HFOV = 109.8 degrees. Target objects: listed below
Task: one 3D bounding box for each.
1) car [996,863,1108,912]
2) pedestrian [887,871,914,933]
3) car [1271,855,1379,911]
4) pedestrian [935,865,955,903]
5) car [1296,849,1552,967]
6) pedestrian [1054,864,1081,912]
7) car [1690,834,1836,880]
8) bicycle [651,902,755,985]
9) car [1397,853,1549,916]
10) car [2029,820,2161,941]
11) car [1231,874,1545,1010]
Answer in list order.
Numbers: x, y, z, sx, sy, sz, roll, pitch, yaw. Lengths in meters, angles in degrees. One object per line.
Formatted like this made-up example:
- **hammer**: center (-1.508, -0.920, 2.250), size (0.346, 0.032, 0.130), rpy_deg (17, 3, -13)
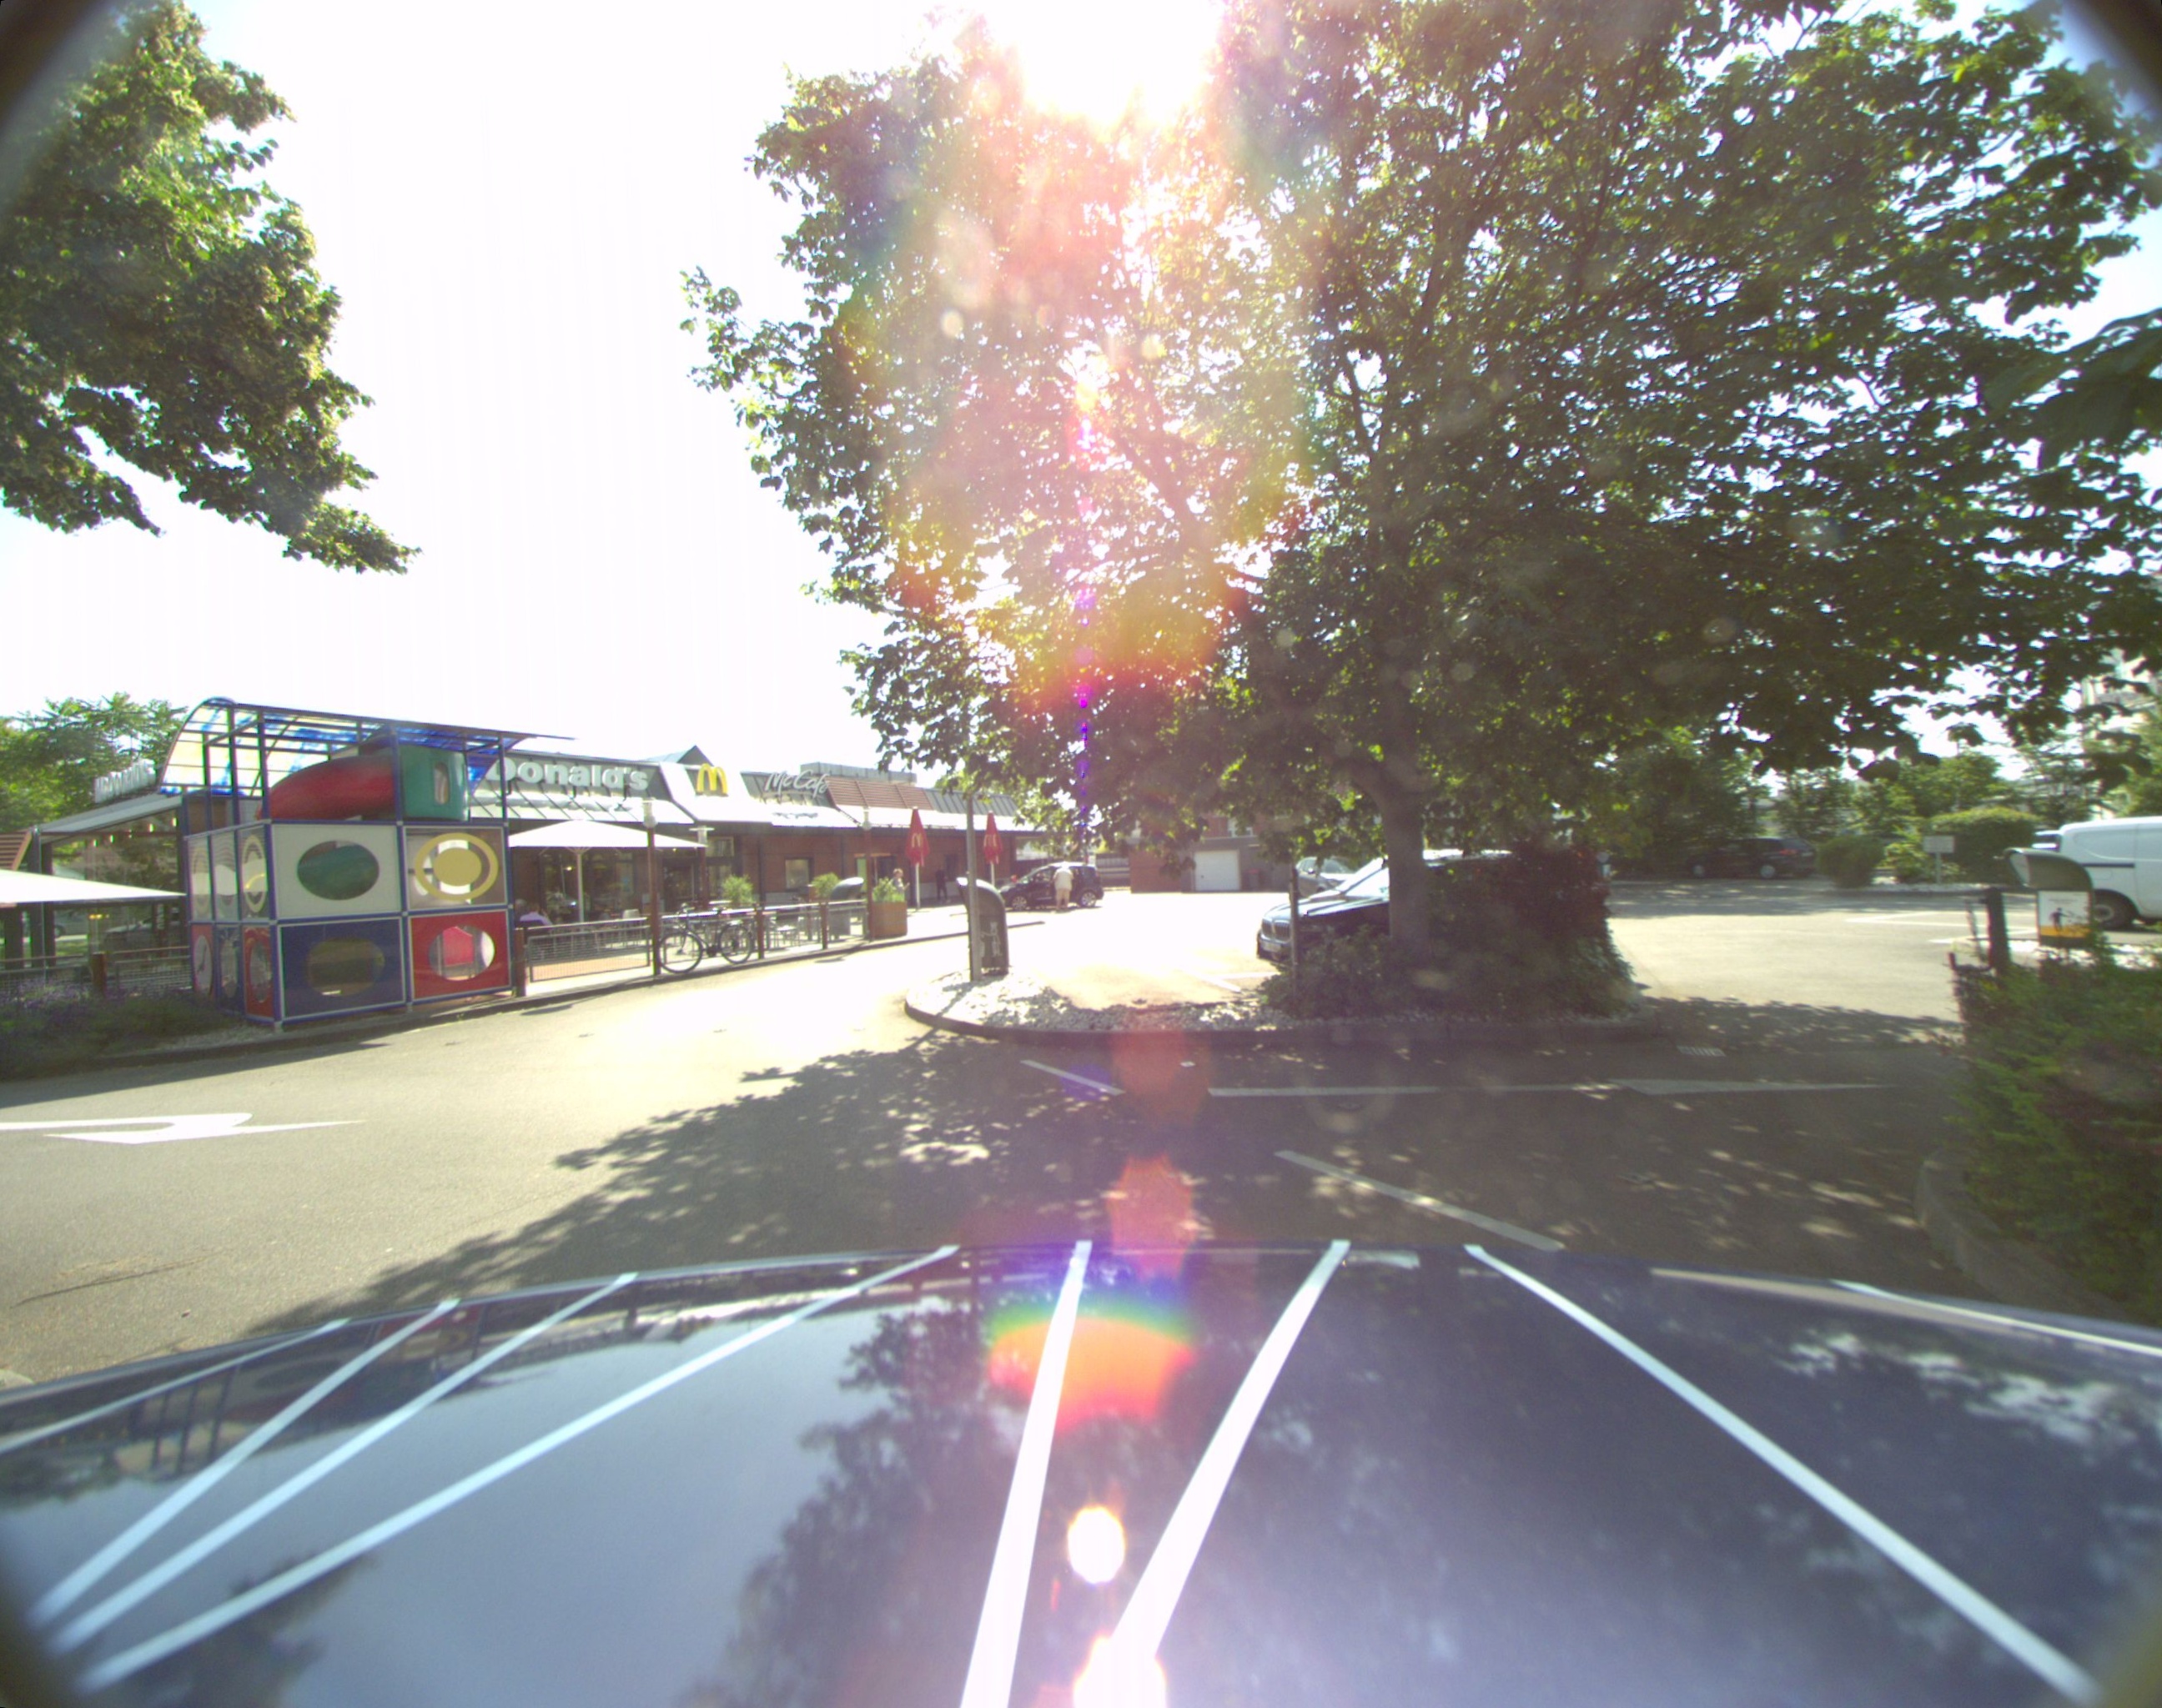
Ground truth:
- **car**: center (-1.141, 1.220, 28.584), size (4.000, 1.647, 1.955), rpy_deg (-2, 0, -8)
- **pedestrian**: center (-4.681, 1.233, 19.740), size (0.597, 1.558, 0.571), rpy_deg (-2, 1, -10)
- **car**: center (7.428, 0.823, 23.500), size (1.621, 1.523, 3.609), rpy_deg (-2, 0, -10)
- **pedestrian**: center (-6.097, 1.344, 34.140), size (0.541, 1.641, 0.624), rpy_deg (-2, 0, 31)
- **car**: center (6.305, 0.889, 13.989), size (4.232, 1.788, 1.757), rpy_deg (-2, 1, -20)
- **pedestrian**: center (-0.479, 1.186, 26.973), size (0.833, 1.628, 0.788), rpy_deg (-2, 0, -8)
- **car**: center (26.091, 0.114, 29.250), size (1.820, 1.567, 3.866), rpy_deg (-2, 0, -10)
- **bicycle**: center (-6.498, 1.509, 13.151), size (0.309, 1.180, 1.615), rpy_deg (1, 3, 34)
- **car**: center (11.572, 0.867, 22.500), size (3.724, 1.622, 1.667), rpy_deg (-2, 1, -11)
- **car**: center (17.591, 0.362, 11.071), size (1.750, 1.817, 4.348), rpy_deg (-3, 0, -16)
- **car**: center (4.322, 1.117, 10.749), size (4.003, 1.484, 1.653), rpy_deg (-2, 0, -20)
